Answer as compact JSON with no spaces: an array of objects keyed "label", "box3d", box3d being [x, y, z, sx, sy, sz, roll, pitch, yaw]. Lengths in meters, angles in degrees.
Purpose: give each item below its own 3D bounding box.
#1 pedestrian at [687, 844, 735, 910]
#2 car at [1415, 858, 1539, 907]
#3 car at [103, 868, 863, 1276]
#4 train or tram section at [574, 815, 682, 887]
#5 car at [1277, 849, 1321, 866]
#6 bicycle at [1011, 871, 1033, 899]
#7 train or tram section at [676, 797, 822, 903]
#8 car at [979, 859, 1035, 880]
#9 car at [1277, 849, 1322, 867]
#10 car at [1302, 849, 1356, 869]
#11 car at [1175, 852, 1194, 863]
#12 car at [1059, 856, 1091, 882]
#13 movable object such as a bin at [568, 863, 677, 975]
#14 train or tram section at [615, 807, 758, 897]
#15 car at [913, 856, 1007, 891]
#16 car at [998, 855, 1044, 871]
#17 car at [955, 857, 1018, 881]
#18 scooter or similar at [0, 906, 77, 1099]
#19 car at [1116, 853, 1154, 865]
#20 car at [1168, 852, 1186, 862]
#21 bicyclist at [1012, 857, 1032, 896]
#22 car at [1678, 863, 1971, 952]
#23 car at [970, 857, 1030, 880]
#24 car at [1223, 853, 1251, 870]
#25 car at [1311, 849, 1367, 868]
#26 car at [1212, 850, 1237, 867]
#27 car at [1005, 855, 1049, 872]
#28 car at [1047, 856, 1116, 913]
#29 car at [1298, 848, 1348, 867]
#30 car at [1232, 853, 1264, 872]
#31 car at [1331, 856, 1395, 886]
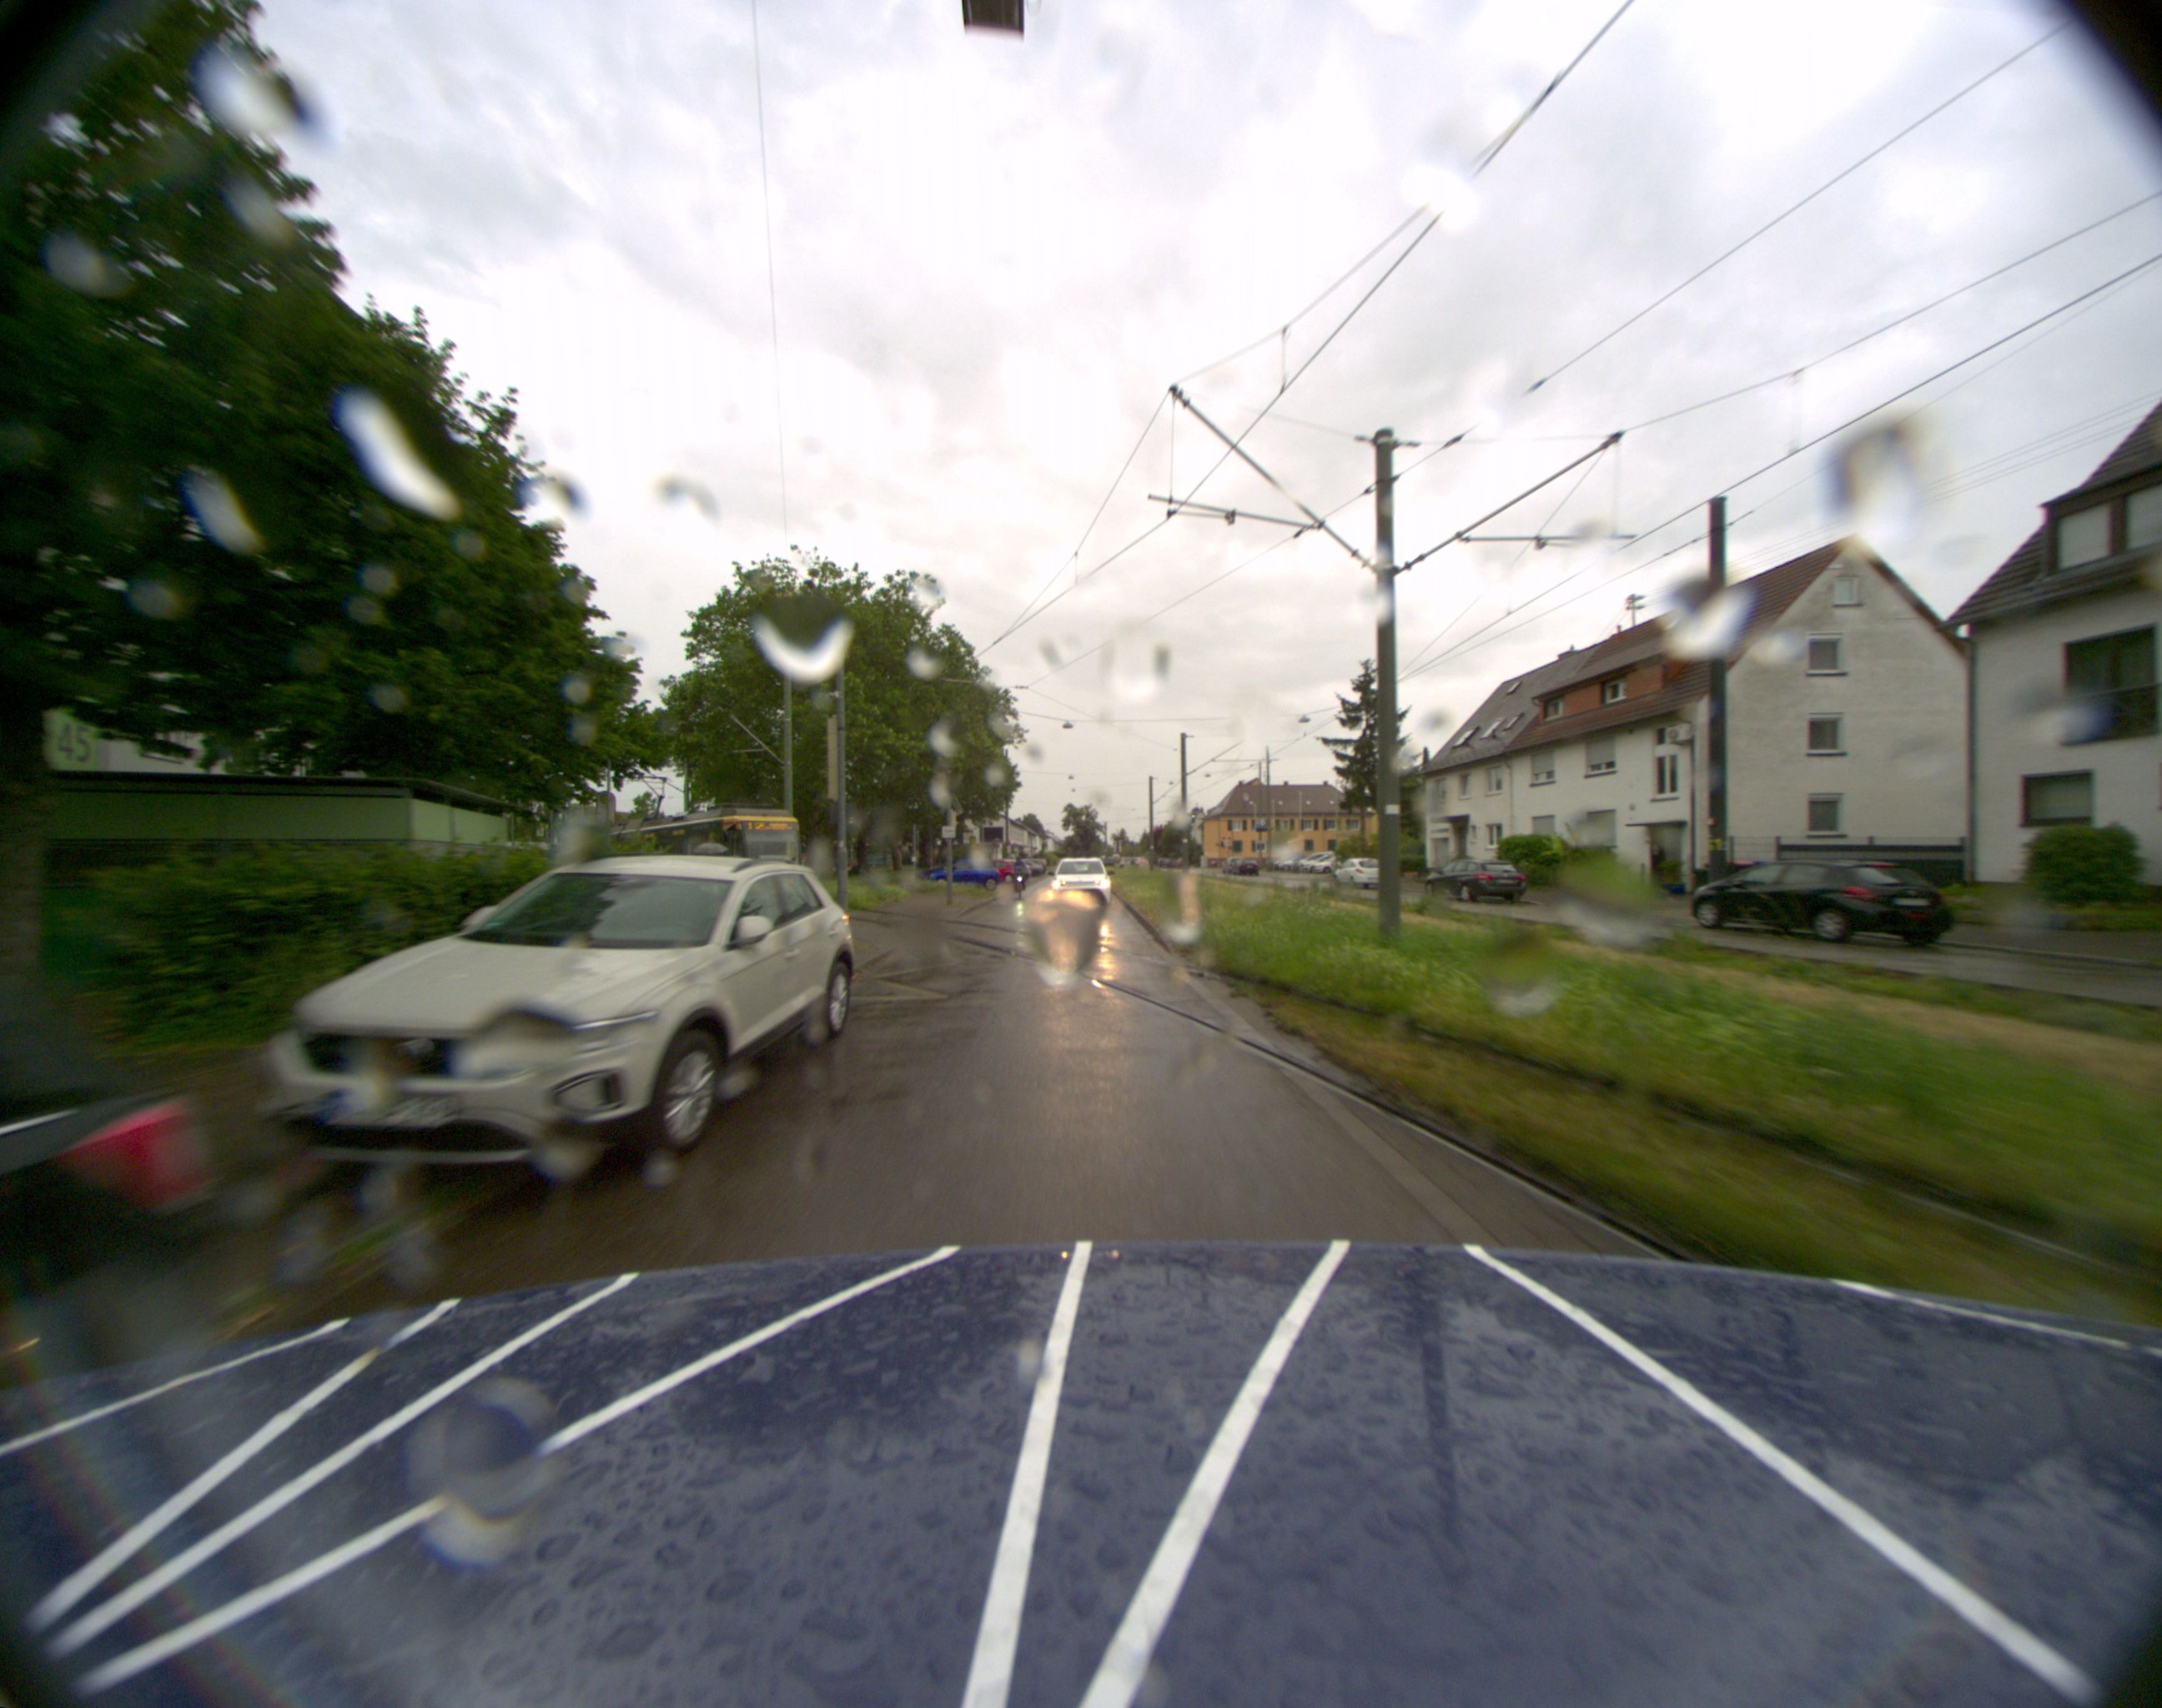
[{"label":"pedestrian","box3d":[-10.195,0.616,20.935,1.016,1.764,0.867,1,1,42]},{"label":"car","box3d":[13.915,0.940,27.066,1.891,1.523,4.756,0,0,0]},{"label":"car","box3d":[-2.996,0.917,5.130,1.904,1.566,4.111,0,0,-1]},{"label":"train or tram section","box3d":[-24.035,-0.140,39.990,2.763,3.320,10.322,0,0,-43]},{"label":"car","box3d":[21.429,0.343,74.640,3.991,1.586,1.916,-1,0,20]},{"label":"bicycle","box3d":[-2.290,1.195,29.729,0.710,1.031,2.099,0,0,0]},{"label":"train or tram section","box3d":[-11.945,-0.116,27.054,2.763,3.320,6.382,0,0,-43]},{"label":"car","box3d":[-5.326,1.076,54.657,3.712,1.475,1.616,0,0,-25]},{"label":"car","box3d":[20.748,0.345,72.156,3.993,1.586,1.915,-1,0,14]},{"label":"car","box3d":[21.443,0.440,65.799,3.996,1.586,1.914,-1,0,2]},{"label":"car","box3d":[14.109,0.427,103.790,1.885,1.423,4.077,0,0,-1]},{"label":"car","box3d":[-0.382,0.894,46.837,1.854,1.500,4.120,0,0,0]},{"label":"movable object such as a bin","box3d":[-6.572,0.858,10.864,1.155,1.432,1.472,0,1,-38]},{"label":"train or tram section","box3d":[-17.218,-0.088,32.653,2.763,3.320,10.321,0,0,-43]},{"label":"car","box3d":[-5.685,0.867,35.768,4.007,1.518,1.715,0,0,-32]},{"label":"car","box3d":[-5.278,0.789,67.047,3.712,1.408,1.616,0,0,-25]},{"label":"car","box3d":[-5.902,0.915,47.578,3.582,1.451,1.616,0,0,-26]},{"label":"scooter or similar","box3d":[-7.705,1.008,4.950,1.328,1.254,0.473,0,1,-42]},{"label":"car","box3d":[6.636,0.547,93.370,4.266,1.423,2.112,0,0,39]},{"label":"car","box3d":[14.229,0.473,112.515,2.096,1.423,4.077,0,0,-1]},{"label":"bicyclist","box3d":[-2.292,0.869,29.731,0.710,1.503,0.715,0,1,0]},{"label":"car","box3d":[13.872,0.913,14.563,1.777,1.417,3.937,0,0,1]},{"label":"car","box3d":[-5.434,0.960,51.094,3.712,1.475,1.616,0,0,-25]},{"label":"car","box3d":[14.457,0.662,70.638,1.881,1.520,4.000,0,0,0]},{"label":"car","box3d":[21.482,0.392,63.399,3.996,1.455,1.914,-1,0,2]},{"label":"car","box3d":[14.959,0.417,79.535,1.998,1.648,4.000,-2,0,3]},{"label":"car","box3d":[-5.001,0.852,70.354,3.712,1.513,1.616,0,0,-25]},{"label":"car","box3d":[0.008,0.834,22.540,1.854,1.500,4.120,0,0,0]},{"label":"car","box3d":[21.845,0.296,68.679,3.994,1.586,1.915,-1,0,8]},{"label":"car","box3d":[14.437,0.681,65.956,1.912,1.581,4.000,0,0,0]},{"label":"car","box3d":[14.108,0.810,38.246,1.715,1.432,4.000,0,0,0]}]
